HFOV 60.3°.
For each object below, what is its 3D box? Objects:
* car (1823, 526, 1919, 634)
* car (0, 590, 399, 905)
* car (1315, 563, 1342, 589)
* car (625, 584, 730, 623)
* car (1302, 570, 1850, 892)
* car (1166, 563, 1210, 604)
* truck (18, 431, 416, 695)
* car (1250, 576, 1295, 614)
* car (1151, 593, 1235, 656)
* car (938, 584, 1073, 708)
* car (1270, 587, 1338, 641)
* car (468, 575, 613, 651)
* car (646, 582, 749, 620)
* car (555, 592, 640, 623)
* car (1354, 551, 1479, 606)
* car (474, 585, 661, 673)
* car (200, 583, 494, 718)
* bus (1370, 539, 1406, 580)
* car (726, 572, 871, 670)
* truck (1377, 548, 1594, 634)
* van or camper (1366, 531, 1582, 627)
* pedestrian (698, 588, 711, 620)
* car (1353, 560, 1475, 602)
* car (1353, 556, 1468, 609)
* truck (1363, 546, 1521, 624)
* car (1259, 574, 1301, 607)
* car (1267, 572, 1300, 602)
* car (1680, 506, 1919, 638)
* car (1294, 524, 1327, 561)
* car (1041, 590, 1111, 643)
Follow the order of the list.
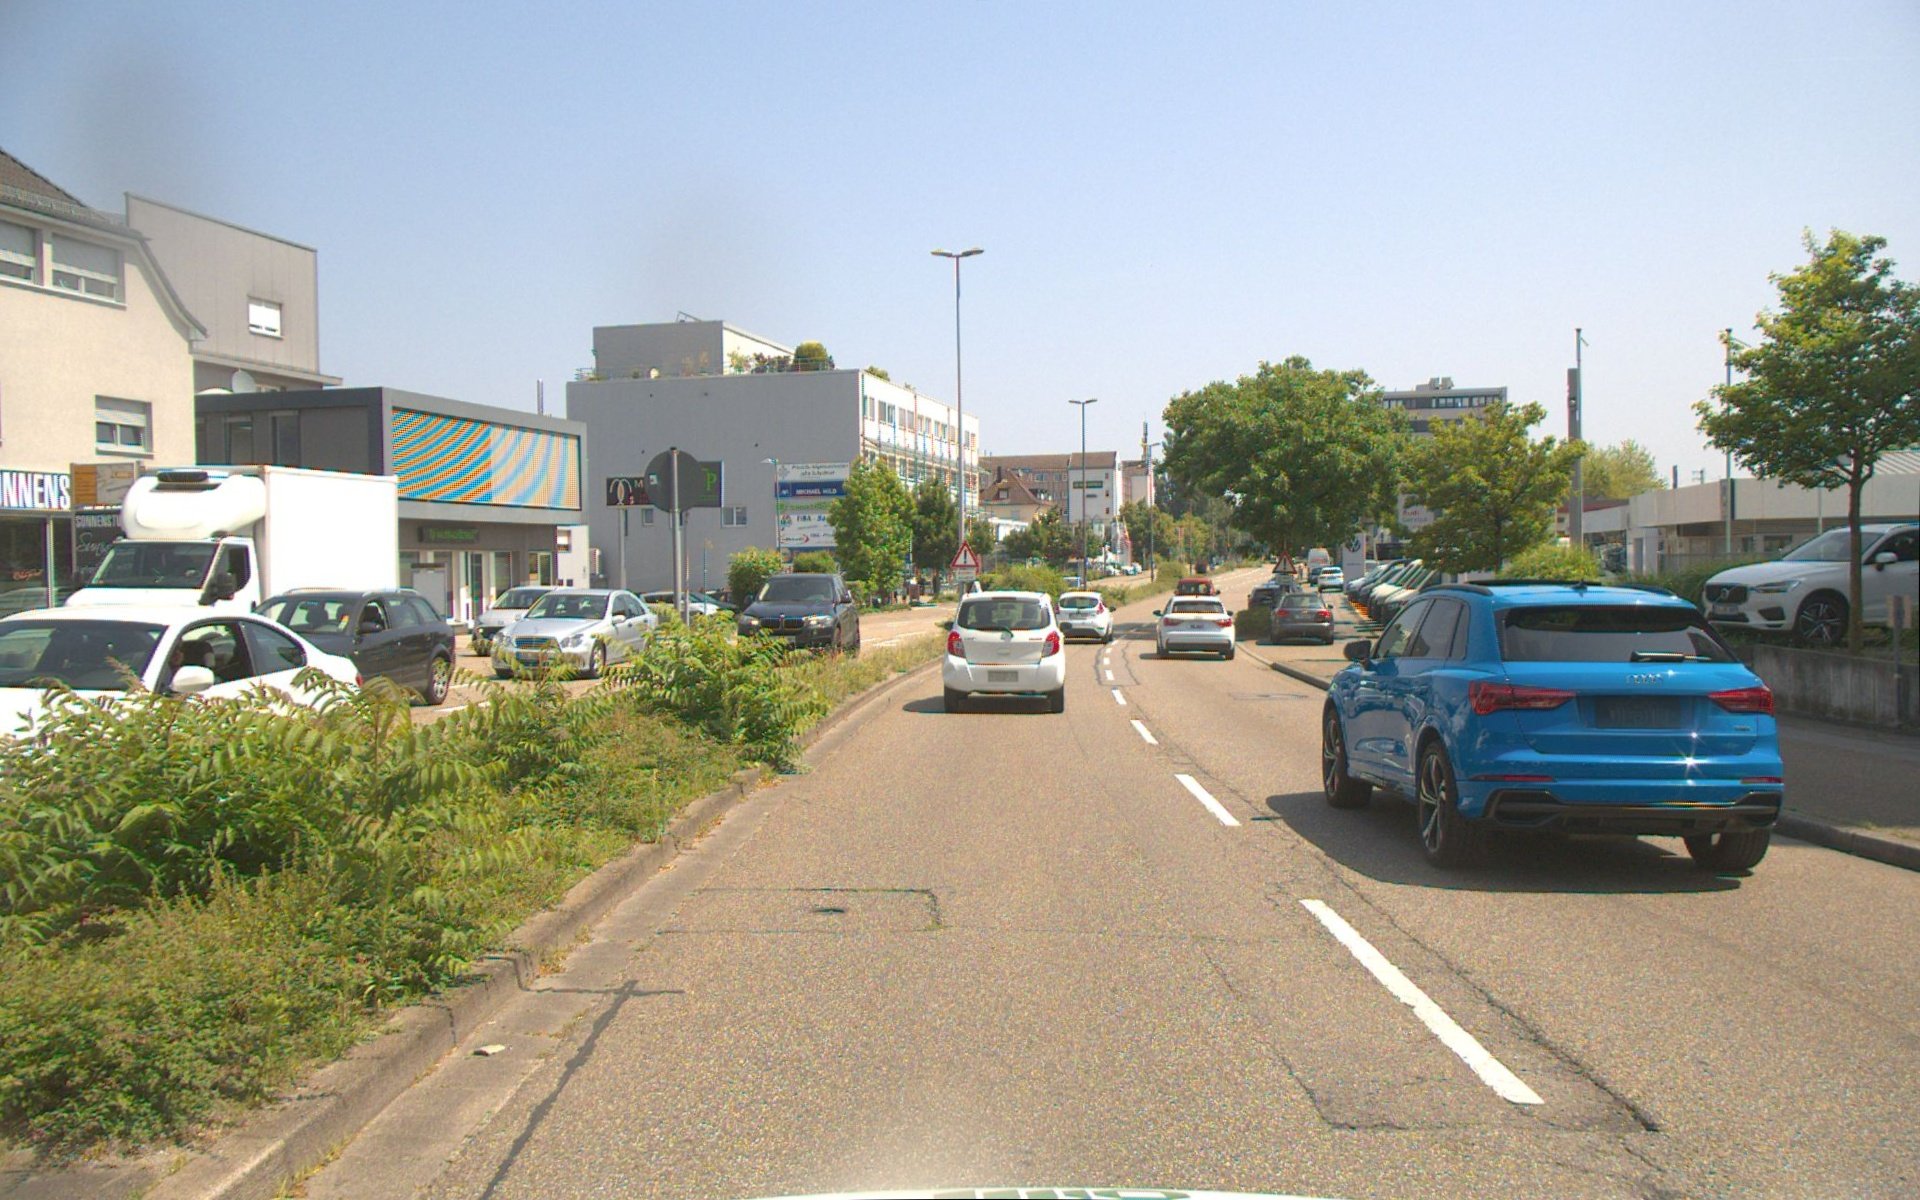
[{"bbox_3d":[24.229,-0.455,39.819,5.760,2.573,2.121,0,-1,15],"label":"car"},{"bbox_3d":[-5.216,0.669,10.071,1.824,1.456,4.746,0,0,2],"label":"car"},{"bbox_3d":[24.859,-1.611,111.583,1.631,1.623,4.618,-2,1,12],"label":"car"},{"bbox_3d":[-11.481,0.147,67.238,3.902,1.484,1.576,-1,-1,7],"label":"car"},{"bbox_3d":[3.571,0.657,10.563,1.874,1.625,4.395,0,0,0],"label":"car"},{"bbox_3d":[10.003,-0.728,72.755,1.757,1.759,3.975,0,0,6],"label":"car"},{"bbox_3d":[-11.006,-0.474,25.394,2.216,3.477,7.044,0,0,7],"label":"truck"},{"bbox_3d":[14.516,-0.270,76.672,1.919,1.556,5.166,-3,1,12],"label":"car"},{"bbox_3d":[5.411,0.538,38.800,1.632,1.423,3.795,0,0,3],"label":"car"},{"bbox_3d":[0.557,0.587,22.404,1.677,1.537,3.246,1,0,-1],"label":"car"},{"bbox_3d":[9.847,0.360,47.586,1.759,1.430,4.324,1,1,10],"label":"car"},{"bbox_3d":[-9.325,0.280,37.105,1.857,1.594,4.200,0,0,5],"label":"car"},{"bbox_3d":[-11.096,0.036,69.969,3.912,1.395,1.671,-3,2,14],"label":"car"},{"bbox_3d":[-18.898,0.401,86.343,3.887,1.493,1.966,-1,1,7],"label":"car"},{"bbox_3d":[21.895,-1.026,79.485,5.719,2.568,2.206,0,0,14],"label":"car"},{"bbox_3d":[-6.574,0.450,28.208,1.857,1.384,4.200,0,0,5],"label":"car"},{"bbox_3d":[-7.341,0.536,20.362,1.764,1.464,4.578,0,0,2],"label":"car"},{"bbox_3d":[35.369,-3.426,136.465,2.745,3.132,12.296,0,3,15],"label":"bus"},{"bbox_3d":[-3.085,0.398,32.622,1.868,1.781,4.763,0,0,6],"label":"car"},{"bbox_3d":[16.041,-0.288,50.879,6.112,2.377,2.371,-2,1,13],"label":"truck"},{"bbox_3d":[17.079,-0.701,55.308,6.651,2.948,2.278,-1,1,11],"label":"van or camper"},{"bbox_3d":[-13.605,0.222,88.105,0.534,1.686,0.625,0,-1,11],"label":"pedestrian"},{"bbox_3d":[22.542,-0.956,82.189,5.769,2.049,2.261,1,1,16],"label":"car"},{"bbox_3d":[20.277,-0.806,74.586,4.795,2.151,2.131,-2,1,11],"label":"car"},{"bbox_3d":[16.903,-0.532,58.250,5.135,2.478,2.113,-2,1,13],"label":"truck"},{"bbox_3d":[15.928,-0.491,82.557,1.815,1.507,5.161,-1,1,9],"label":"car"},{"bbox_3d":[18.284,-0.750,93.667,1.677,1.575,4.795,-2,1,10],"label":"car"},{"bbox_3d":[12.907,-0.349,23.548,4.644,1.743,1.993,1,0,-14],"label":"car"},{"bbox_3d":[30.245,-4.917,142.790,2.089,2.887,7.316,-7,0,9],"label":"car"},{"bbox_3d":[3.349,0.462,48.347,1.792,1.475,4.000,0,0,0],"label":"car"}]
